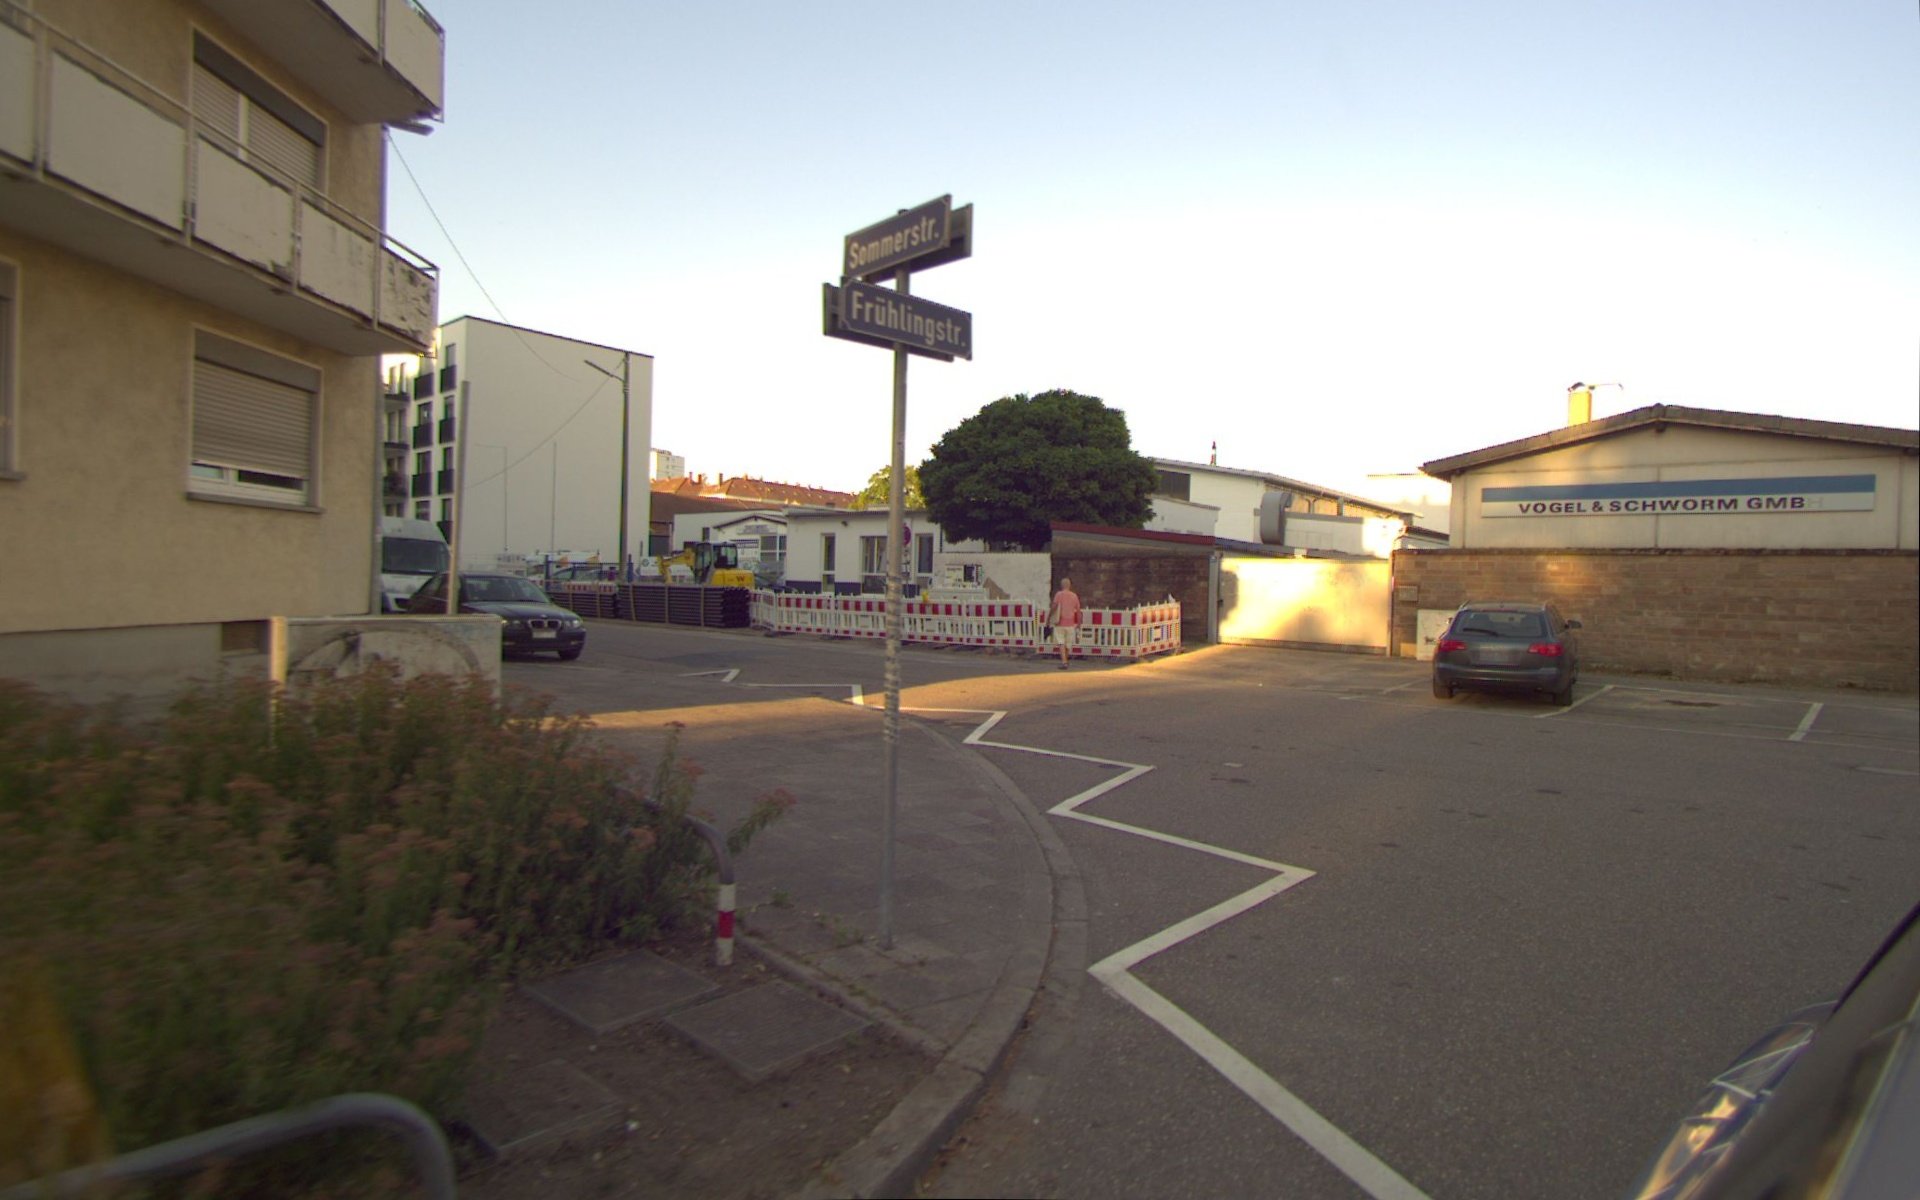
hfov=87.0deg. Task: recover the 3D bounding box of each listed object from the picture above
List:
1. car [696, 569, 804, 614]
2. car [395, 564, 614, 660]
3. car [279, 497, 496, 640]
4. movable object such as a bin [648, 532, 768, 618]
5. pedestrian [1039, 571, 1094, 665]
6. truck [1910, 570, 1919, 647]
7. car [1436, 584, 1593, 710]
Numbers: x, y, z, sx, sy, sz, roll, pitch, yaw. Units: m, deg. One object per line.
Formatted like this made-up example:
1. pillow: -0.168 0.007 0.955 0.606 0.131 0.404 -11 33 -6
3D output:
1. car: -8.595 -0.340 41.500 3.921 1.725 1.850 1 1 -32
2. car: -7.763 0.172 17.104 3.987 1.389 1.968 2 -1 43
3. car: -12.148 -0.633 21.225 6.017 2.562 2.197 2 -1 43
4. movable object such as a bin: -8.868 -0.860 35.182 2.621 2.693 5.207 1 1 -31
5. pedestrian: 1.979 0.335 18.928 0.770 1.686 0.631 3 -1 -15
6. truck: 30.300 0.358 30.643 2.098 2.228 5.621 3 0 43
7. car: 8.826 0.586 15.892 1.819 1.549 4.674 2 3 33
